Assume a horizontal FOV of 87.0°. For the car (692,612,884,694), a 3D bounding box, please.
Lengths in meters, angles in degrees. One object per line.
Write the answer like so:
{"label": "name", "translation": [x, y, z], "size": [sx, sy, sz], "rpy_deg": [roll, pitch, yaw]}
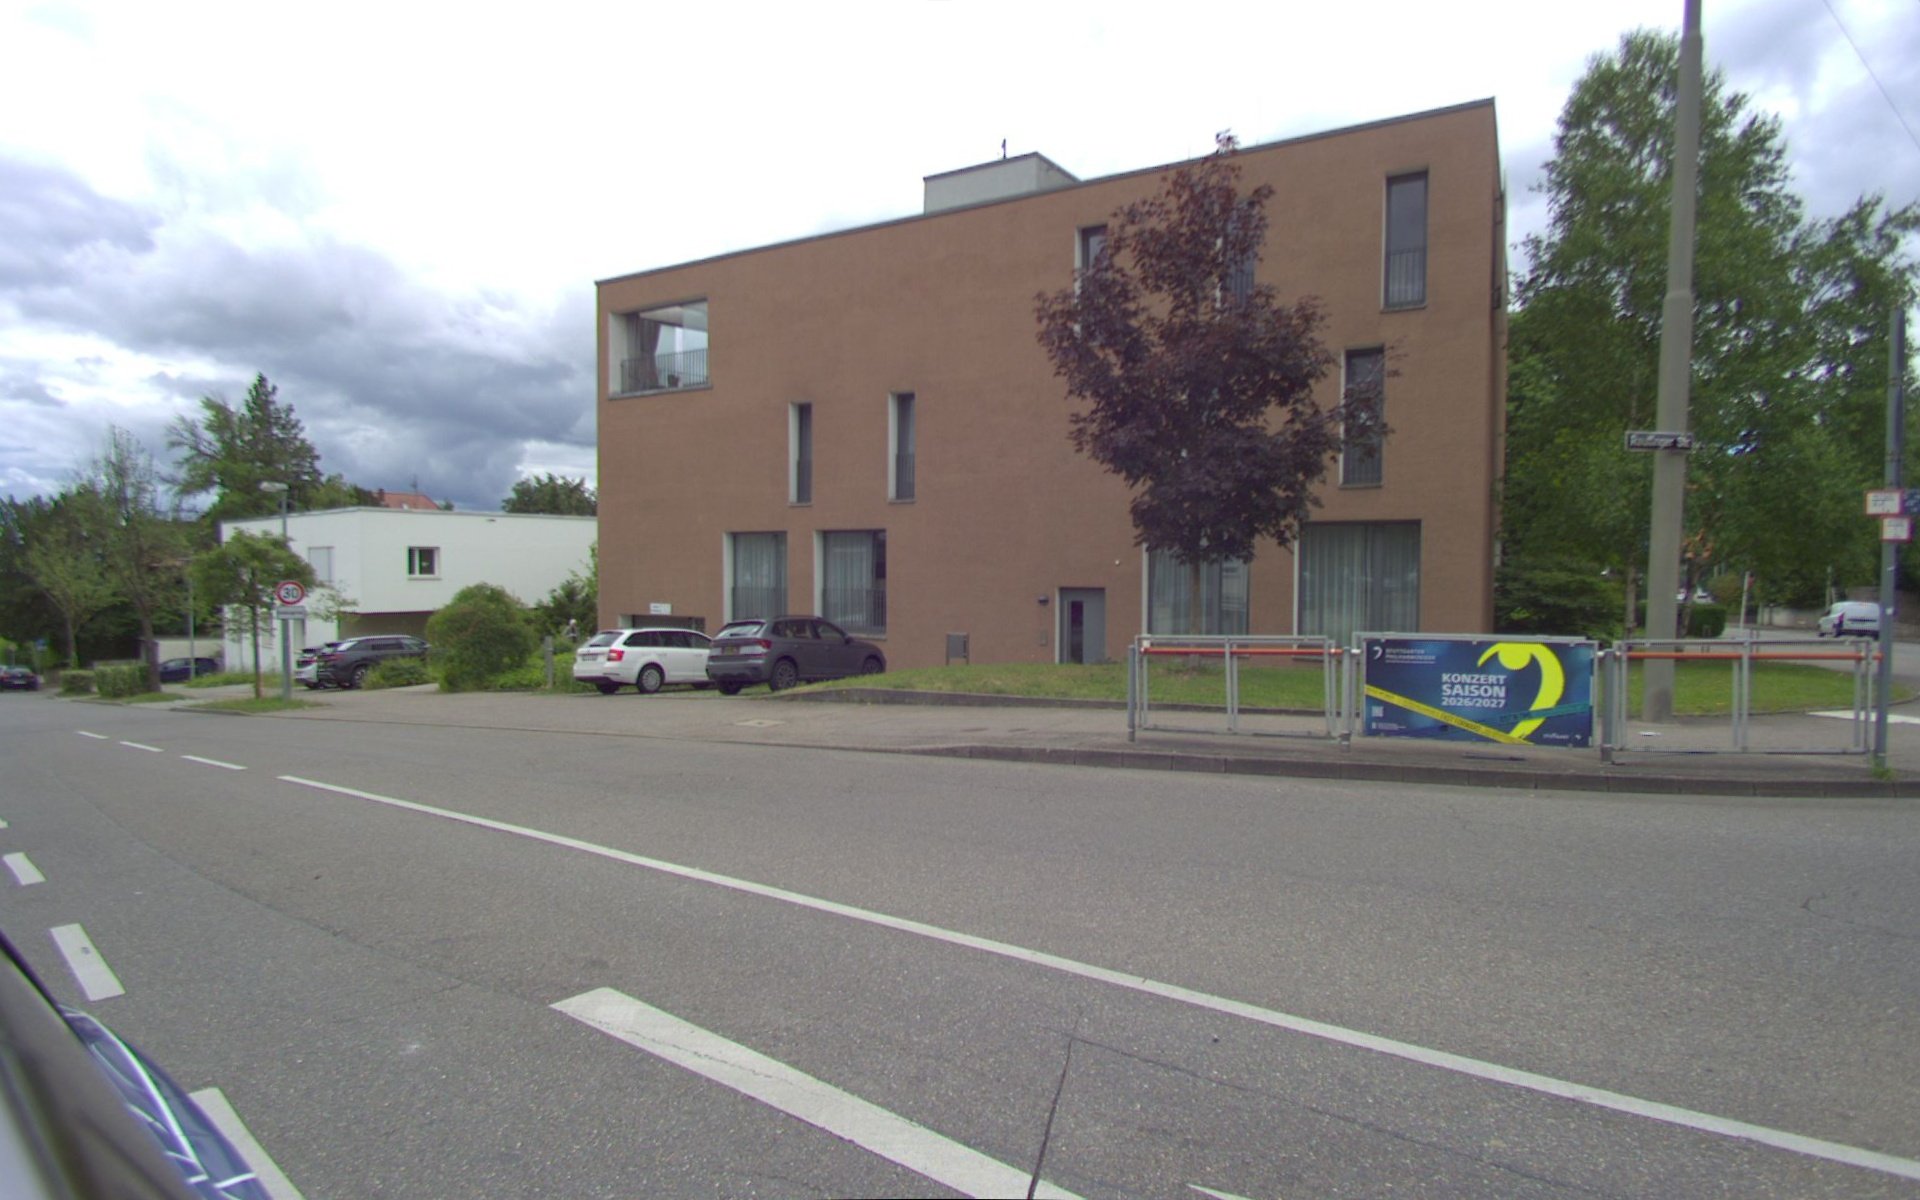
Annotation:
{"label": "car", "translation": [-3.430, 1.040, 20.763], "size": [1.728, 1.475, 3.727], "rpy_deg": [-5, -3, 35]}

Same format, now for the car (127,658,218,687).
{"label": "car", "translation": [-44.399, 4.060, 57.109], "size": [1.740, 1.364, 3.757], "rpy_deg": [-4, -1, 39]}

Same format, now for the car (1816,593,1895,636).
{"label": "car", "translation": [44.375, 0.699, 50.268], "size": [1.992, 1.871, 4.309], "rpy_deg": [-4, -1, 30]}

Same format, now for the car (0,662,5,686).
{"label": "car", "translation": [-61.777, 4.728, 64.070], "size": [2.973, 1.530, 1.607], "rpy_deg": [-3, -1, 40]}

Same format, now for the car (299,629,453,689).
{"label": "car", "translation": [-19.375, 1.928, 33.681], "size": [2.008, 1.666, 3.945], "rpy_deg": [-4, -1, 42]}

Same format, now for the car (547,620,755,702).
{"label": "car", "translation": [-7.058, 1.343, 23.434], "size": [2.011, 1.635, 4.219], "rpy_deg": [-2, -1, 38]}

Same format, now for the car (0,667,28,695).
{"label": "car", "translation": [-55.666, 4.728, 58.681], "size": [4.679, 1.481, 1.832], "rpy_deg": [-4, -2, 40]}

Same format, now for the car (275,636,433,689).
{"label": "car", "translation": [-21.308, 2.183, 35.711], "size": [2.064, 1.578, 4.343], "rpy_deg": [-4, -2, 39]}
